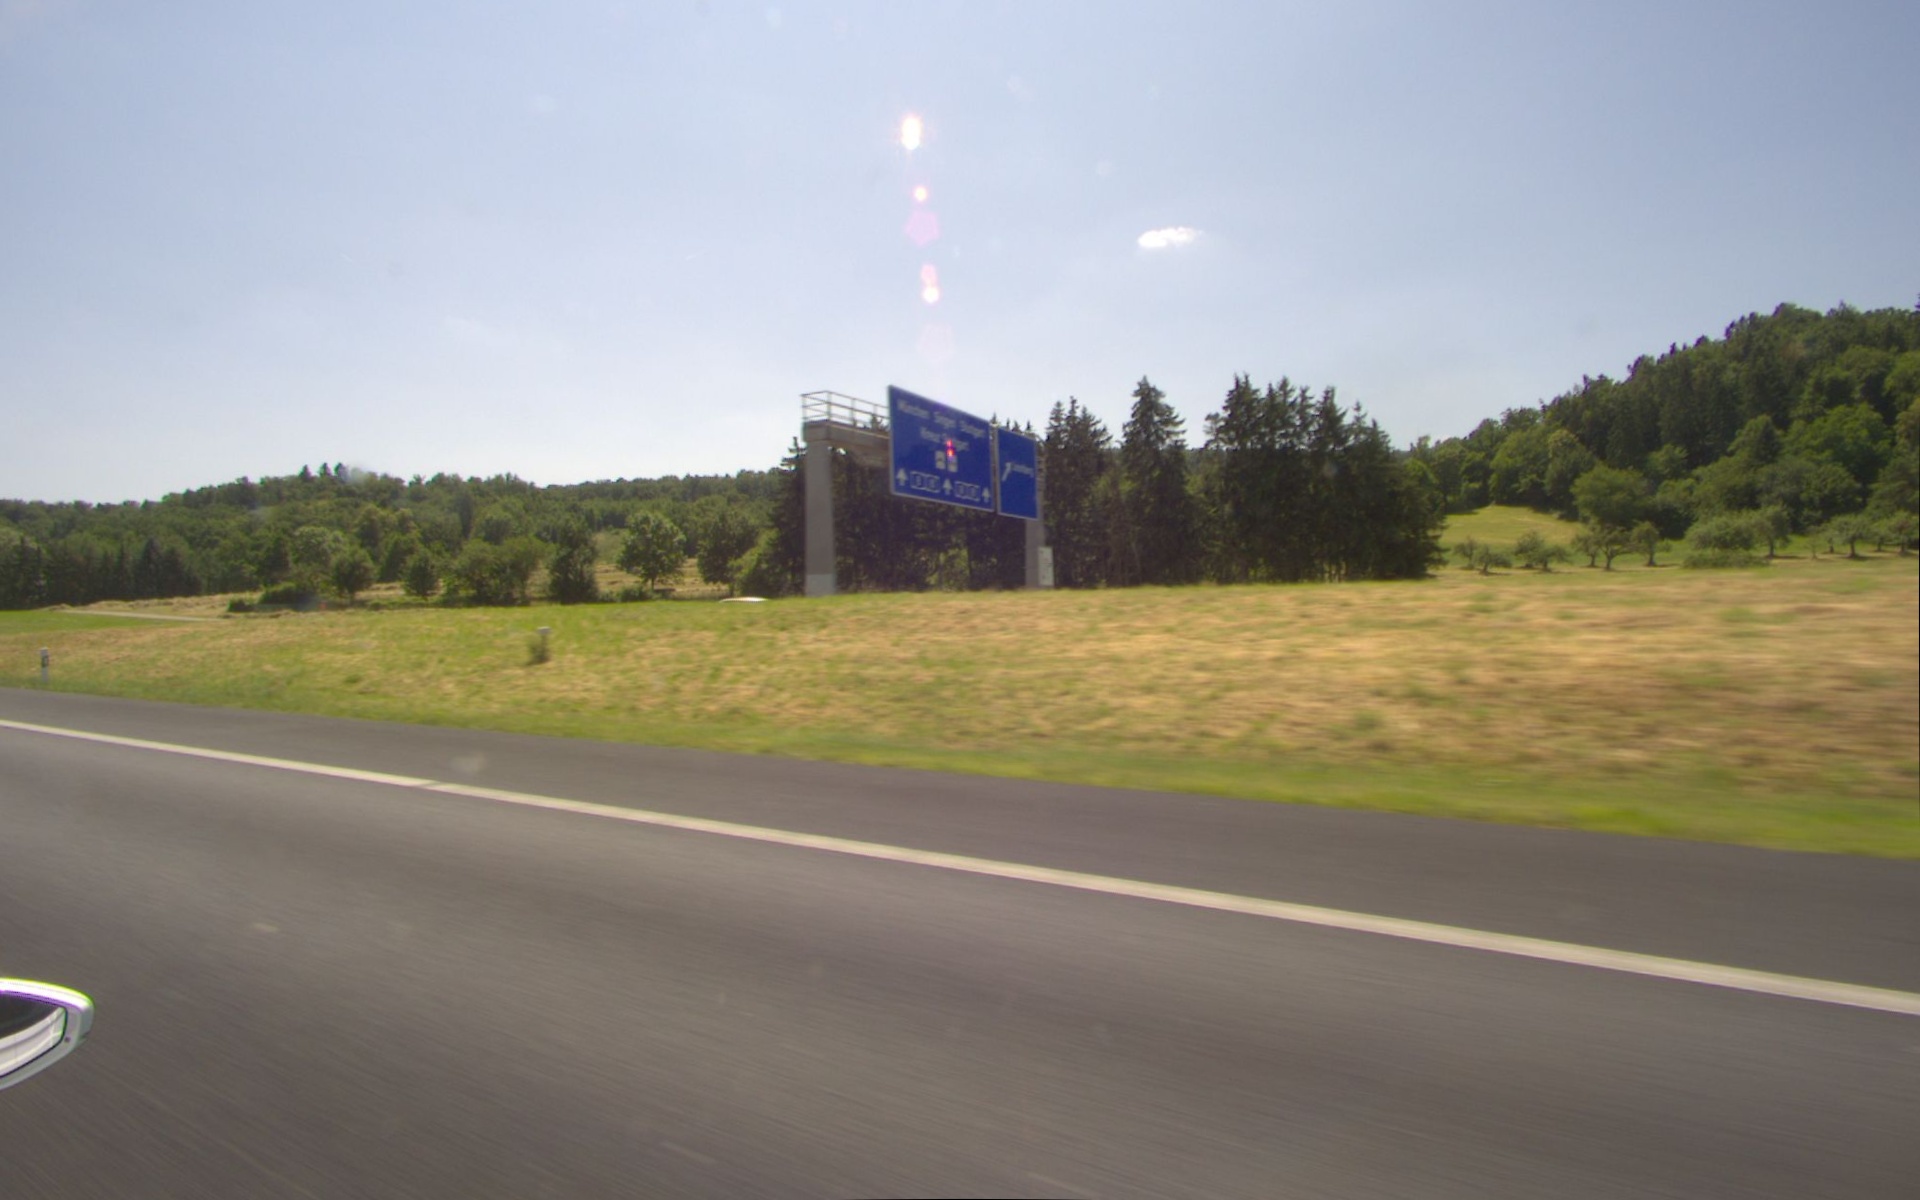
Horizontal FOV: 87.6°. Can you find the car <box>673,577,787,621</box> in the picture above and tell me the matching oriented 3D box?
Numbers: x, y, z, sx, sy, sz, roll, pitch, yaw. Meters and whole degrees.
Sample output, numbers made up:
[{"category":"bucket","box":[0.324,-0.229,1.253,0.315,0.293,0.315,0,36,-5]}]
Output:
[{"category":"car","box":[-9.717,-0.002,42.269,4.393,1.683,1.995,-1,-2,23]}]
